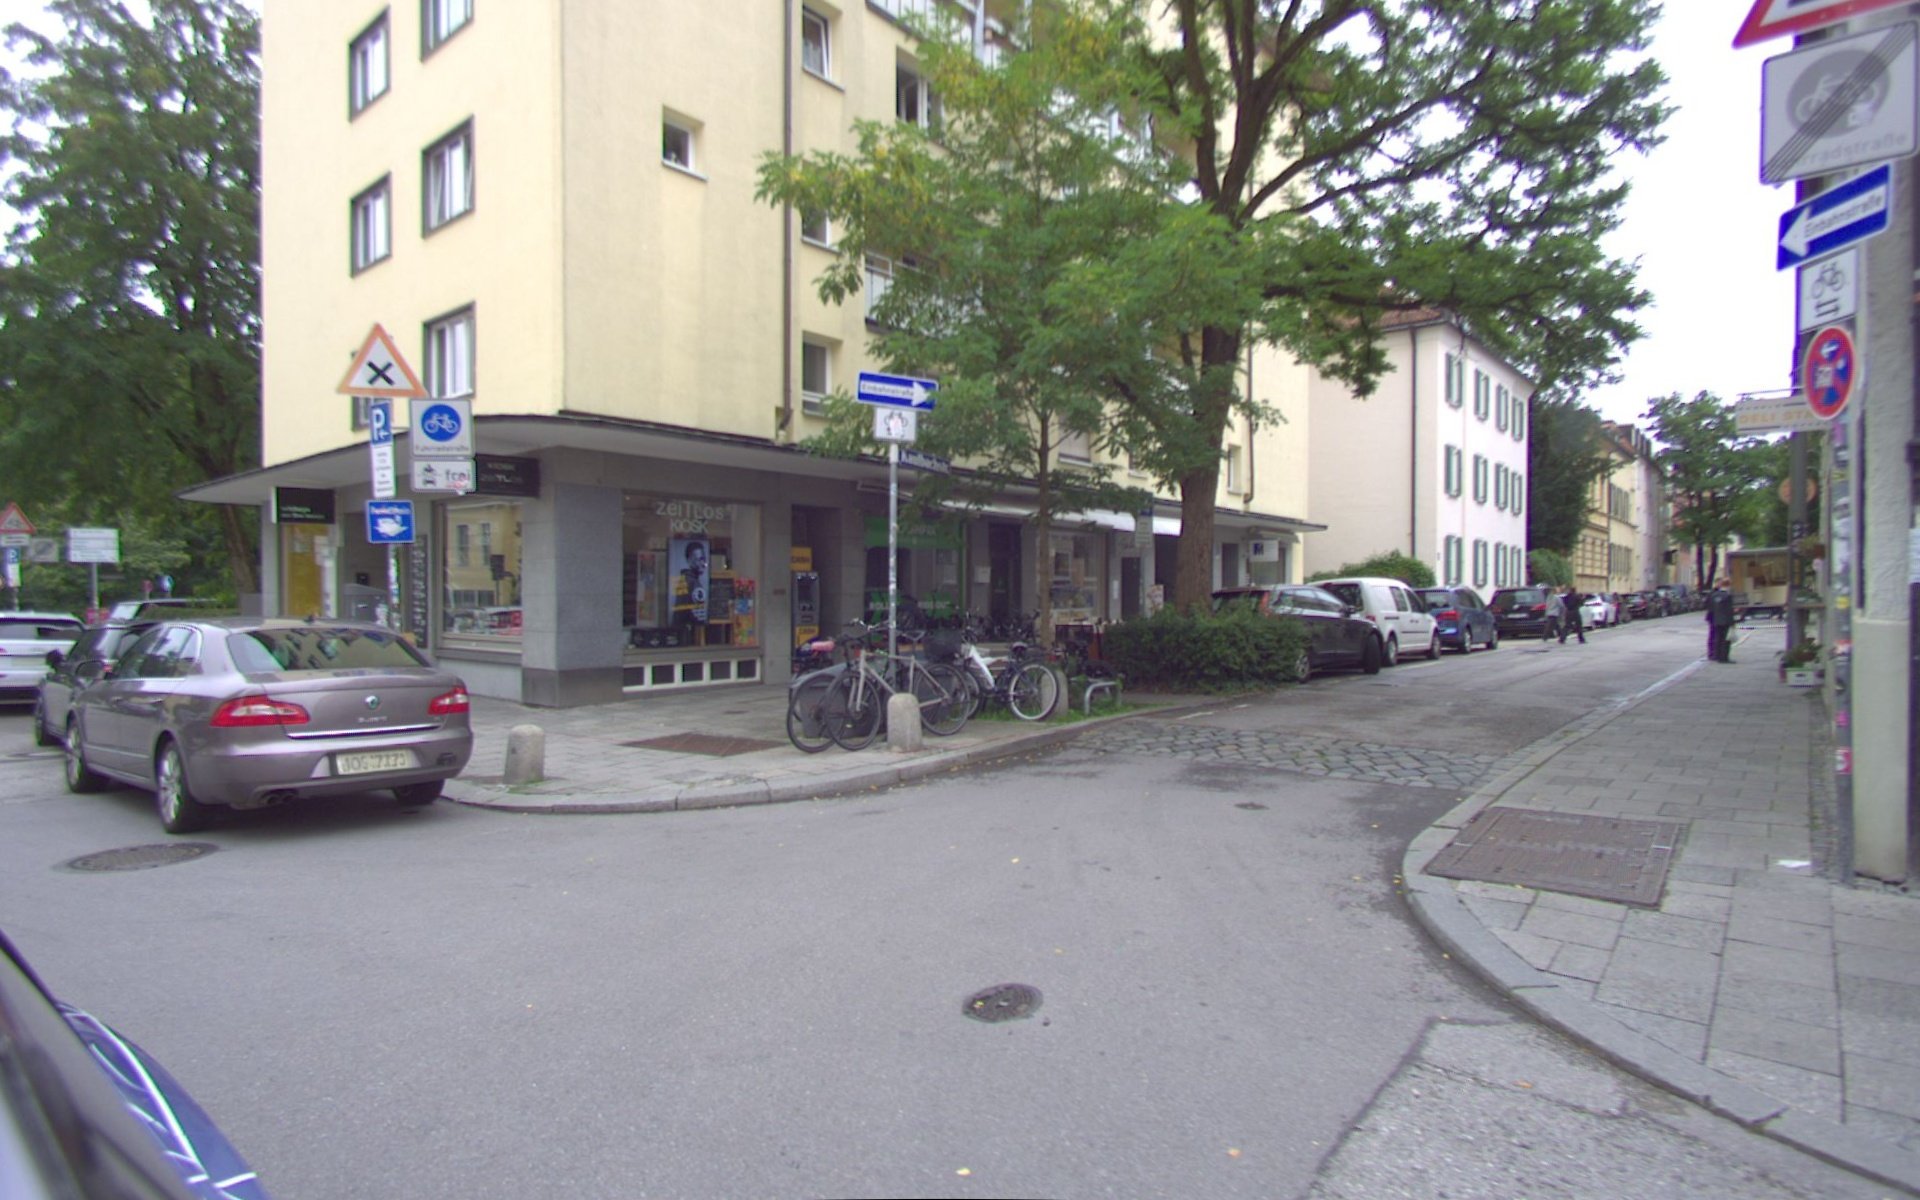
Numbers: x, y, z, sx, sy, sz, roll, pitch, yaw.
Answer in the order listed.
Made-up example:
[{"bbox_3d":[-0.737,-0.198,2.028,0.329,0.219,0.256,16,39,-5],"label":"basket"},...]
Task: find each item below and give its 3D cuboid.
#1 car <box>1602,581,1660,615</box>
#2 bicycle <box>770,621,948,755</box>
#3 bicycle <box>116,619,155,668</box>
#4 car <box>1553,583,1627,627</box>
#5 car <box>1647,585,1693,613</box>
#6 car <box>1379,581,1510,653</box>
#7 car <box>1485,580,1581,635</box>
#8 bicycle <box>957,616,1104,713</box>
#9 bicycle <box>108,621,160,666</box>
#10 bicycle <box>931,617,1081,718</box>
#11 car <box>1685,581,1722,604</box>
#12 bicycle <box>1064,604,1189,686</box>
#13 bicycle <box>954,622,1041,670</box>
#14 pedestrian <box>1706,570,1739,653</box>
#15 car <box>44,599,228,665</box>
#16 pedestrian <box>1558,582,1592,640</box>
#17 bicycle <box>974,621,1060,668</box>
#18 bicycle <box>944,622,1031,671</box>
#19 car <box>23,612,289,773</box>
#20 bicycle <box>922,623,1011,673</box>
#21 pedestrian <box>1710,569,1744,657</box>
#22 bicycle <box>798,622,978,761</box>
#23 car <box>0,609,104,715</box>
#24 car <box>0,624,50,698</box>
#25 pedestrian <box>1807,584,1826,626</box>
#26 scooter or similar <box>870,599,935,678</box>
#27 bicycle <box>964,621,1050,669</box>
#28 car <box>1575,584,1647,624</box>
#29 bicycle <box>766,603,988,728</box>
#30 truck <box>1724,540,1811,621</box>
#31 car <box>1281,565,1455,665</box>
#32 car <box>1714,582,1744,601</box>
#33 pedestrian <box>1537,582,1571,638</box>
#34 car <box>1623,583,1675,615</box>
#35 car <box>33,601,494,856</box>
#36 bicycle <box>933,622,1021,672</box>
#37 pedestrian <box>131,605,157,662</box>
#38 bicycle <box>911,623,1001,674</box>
[{"bbox_3d":[34.552,-0.114,52.062,1.775,1.608,4.109,-5,-3,42],"label":"car"},{"bbox_3d":[-0.898,0.768,9.428,0.392,1.042,1.798,-2,1,43],"label":"bicycle"},{"bbox_3d":[-21.834,1.142,26.798,1.854,1.219,0.555,0,1,44],"label":"bicycle"},{"bbox_3d":[25.571,0.192,41.025,1.775,1.608,4.109,-5,-3,42],"label":"car"},{"bbox_3d":[44.723,-0.074,63.697,1.775,1.608,4.109,-5,-3,42],"label":"car"},{"bbox_3d":[12.166,0.404,25.300,1.775,1.608,4.109,-5,-3,42],"label":"car"},{"bbox_3d":[18.689,0.236,32.948,1.775,1.608,4.109,-5,-3,42],"label":"car"},{"bbox_3d":[0.766,0.690,11.343,1.714,0.973,0.376,1,2,38],"label":"bicycle"},{"bbox_3d":[-23.289,1.202,28.574,0.573,1.134,2.305,-2,1,-25],"label":"bicycle"},{"bbox_3d":[0.470,0.694,10.952,1.714,0.973,0.376,1,2,38],"label":"bicycle"},{"bbox_3d":[56.565,-0.590,76.949,1.775,1.608,4.109,-5,-3,42],"label":"car"},{"bbox_3d":[2.735,0.705,16.414,0.818,1.221,2.340,1,-1,43],"label":"bicycle"},{"bbox_3d":[0.654,0.806,18.118,1.721,0.786,0.289,1,1,39],"label":"bicycle"},{"bbox_3d":[16.252,0.242,21.563,0.530,1.743,0.550,1,1,39],"label":"pedestrian"},{"bbox_3d":[-27.419,0.995,33.842,1.926,2.016,4.382,1,1,26],"label":"car"},{"bbox_3d":[17.321,0.305,28.509,0.670,1.609,0.576,0,1,-36],"label":"pedestrian"},{"bbox_3d":[1.027,0.805,18.577,1.721,0.786,0.289,1,1,39],"label":"bicycle"},{"bbox_3d":[0.467,0.807,17.881,1.721,0.786,0.289,1,1,39],"label":"bicycle"},{"bbox_3d":[-9.108,0.891,11.343,4.096,1.482,1.661,-1,-1,42],"label":"car"},{"bbox_3d":[0.099,0.808,17.405,1.721,0.786,0.289,1,1,39],"label":"bicycle"},{"bbox_3d":[15.886,0.259,20.951,0.530,1.800,0.485,1,1,39],"label":"pedestrian"},{"bbox_3d":[-0.605,0.774,9.149,0.392,1.042,1.798,-2,1,43],"label":"bicycle"},{"bbox_3d":[-15.942,1.011,16.961,4.335,1.596,1.784,-2,-3,41],"label":"car"},{"bbox_3d":[-20.016,1.196,20.592,4.095,1.421,1.727,-1,-2,41],"label":"car"},{"bbox_3d":[35.926,0.210,42.449,0.557,1.743,0.523,1,1,41],"label":"pedestrian"},{"bbox_3d":[-0.907,0.595,16.313,0.985,1.210,1.203,1,1,0],"label":"scooter or similar"},{"bbox_3d":[0.837,0.805,18.347,1.721,0.786,0.289,1,1,39],"label":"bicycle"},{"bbox_3d":[29.379,0.182,45.652,1.996,1.608,4.109,-5,-3,42],"label":"car"},{"bbox_3d":[-0.904,0.698,12.024,0.818,1.220,2.812,1,2,43],"label":"bicycle"},{"bbox_3d":[35.096,-0.804,43.888,2.580,3.218,6.645,1,1,42],"label":"truck"},{"bbox_3d":[8.736,0.313,21.472,1.907,1.859,4.399,-5,-3,42],"label":"car"},{"bbox_3d":[70.493,-0.777,92.762,1.775,1.608,4.109,-5,-3,42],"label":"car"},{"bbox_3d":[17.184,0.291,29.283,0.670,1.594,0.576,0,1,-32],"label":"pedestrian"},{"bbox_3d":[38.765,-0.054,56.902,1.775,1.608,4.109,-5,-3,42],"label":"car"},{"bbox_3d":[-5.768,0.787,8.097,4.944,1.482,1.663,-1,-1,38],"label":"car"},{"bbox_3d":[0.282,0.803,17.646,1.721,0.786,0.289,1,1,39],"label":"bicycle"},{"bbox_3d":[-26.530,1.079,32.911,0.552,1.812,0.642,-1,-2,-31],"label":"pedestrian"},{"bbox_3d":[-0.088,0.809,17.176,1.721,0.786,0.289,1,1,39],"label":"bicycle"}]
